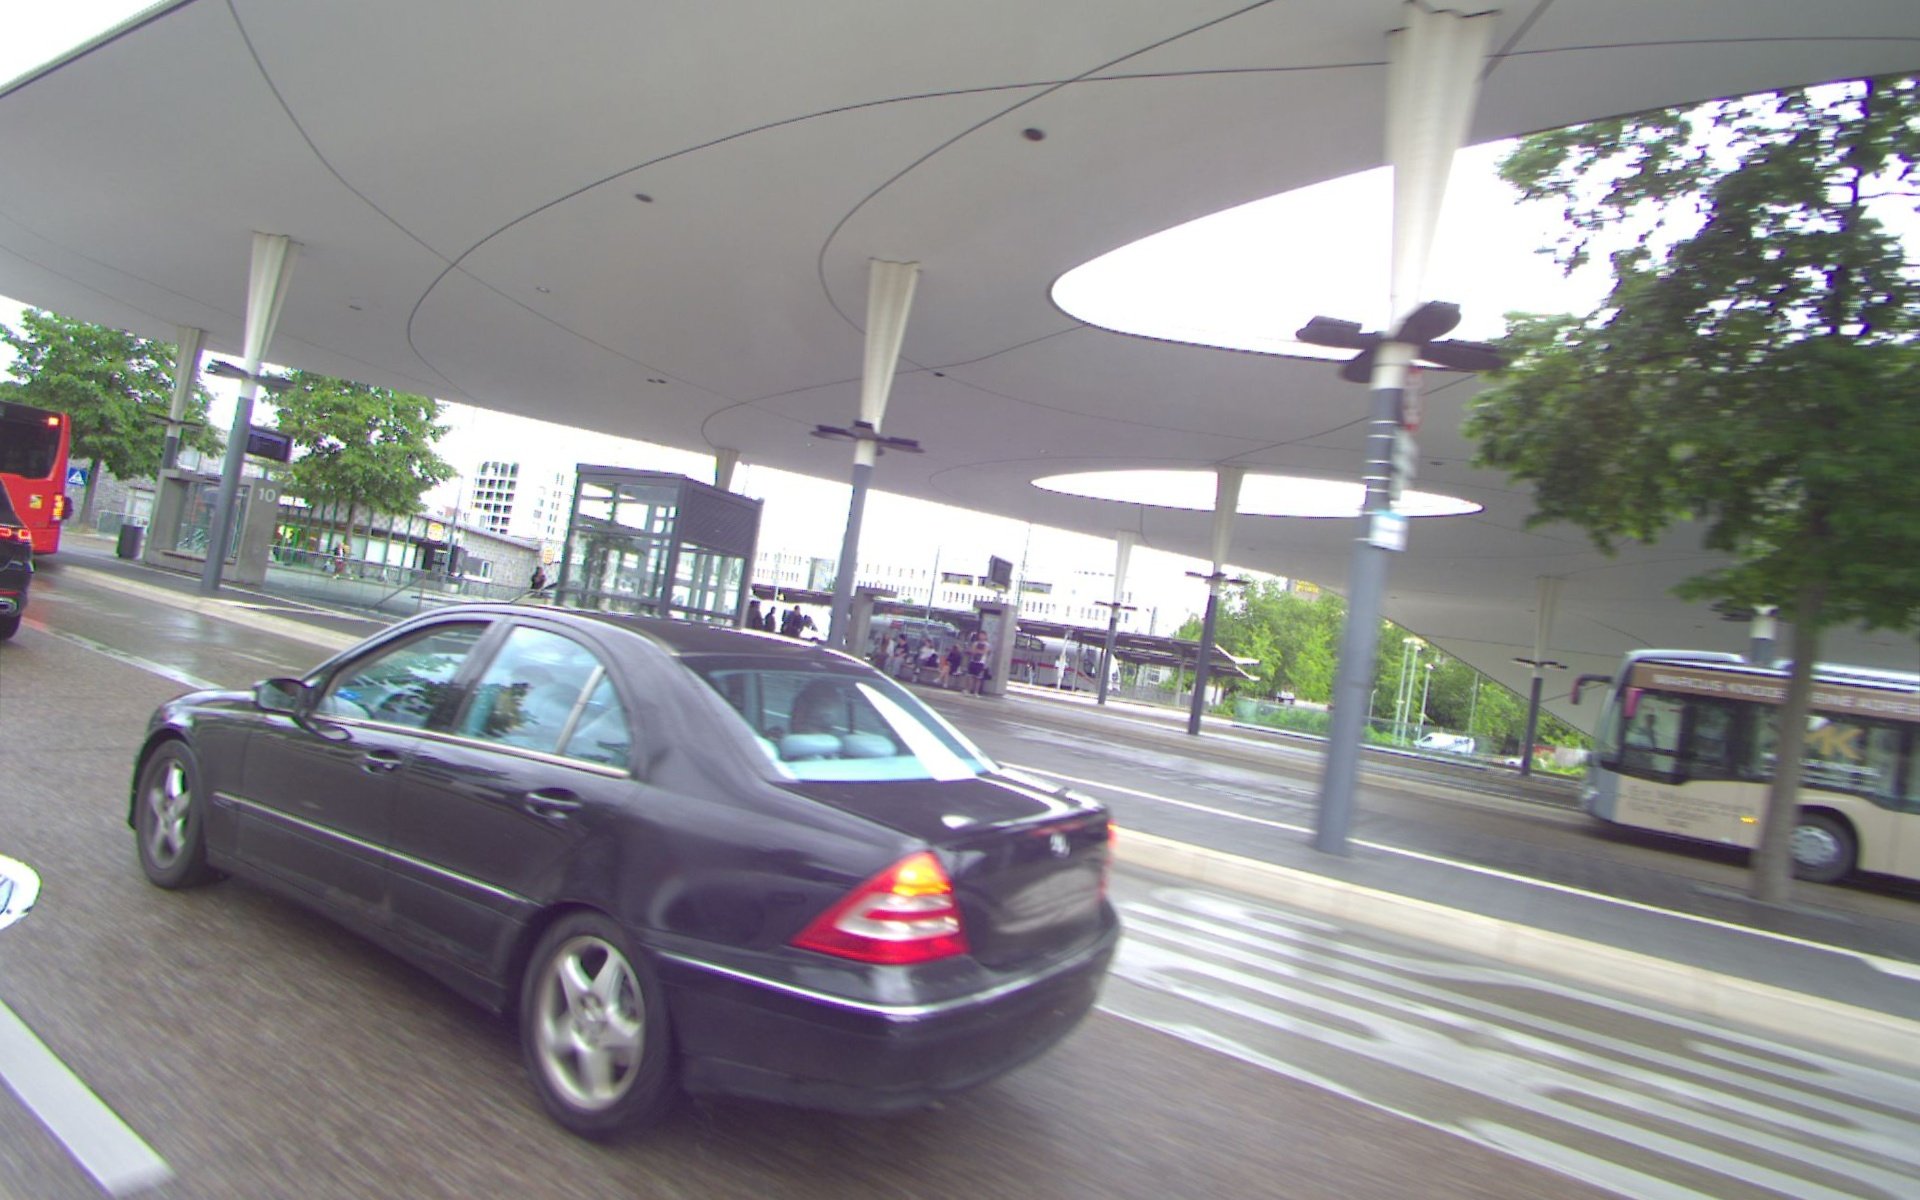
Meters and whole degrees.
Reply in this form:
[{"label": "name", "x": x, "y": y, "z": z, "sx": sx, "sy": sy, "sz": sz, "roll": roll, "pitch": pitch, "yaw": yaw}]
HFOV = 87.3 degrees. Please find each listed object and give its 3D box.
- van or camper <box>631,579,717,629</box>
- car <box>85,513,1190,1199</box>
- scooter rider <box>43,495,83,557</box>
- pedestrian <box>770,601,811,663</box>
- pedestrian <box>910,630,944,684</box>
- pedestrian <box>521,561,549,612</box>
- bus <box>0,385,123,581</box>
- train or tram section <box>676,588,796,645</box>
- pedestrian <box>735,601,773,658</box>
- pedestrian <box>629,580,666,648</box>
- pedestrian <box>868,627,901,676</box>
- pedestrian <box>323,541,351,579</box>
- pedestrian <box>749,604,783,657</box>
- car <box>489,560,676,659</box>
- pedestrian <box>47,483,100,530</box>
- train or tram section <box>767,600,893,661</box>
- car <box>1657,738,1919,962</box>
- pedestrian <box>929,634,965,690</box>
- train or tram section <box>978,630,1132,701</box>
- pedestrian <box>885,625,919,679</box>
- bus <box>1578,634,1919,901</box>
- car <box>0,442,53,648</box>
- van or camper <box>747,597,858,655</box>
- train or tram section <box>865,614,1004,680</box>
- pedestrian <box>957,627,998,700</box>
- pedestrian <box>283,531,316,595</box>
[{"label": "van or camper", "x": -17.105, "y": 0.273, "z": 60.439, "sx": 2.074, "sy": 2.294, "sz": 4.701, "roll": 7, "pitch": -3, "yaw": 28}, {"label": "car", "x": -1.493, "y": 0.718, "z": 4.016, "sx": 4.231, "sy": 1.479, "sz": 1.701, "roll": 9, "pitch": 0, "yaw": 31}, {"label": "scooter rider", "x": -23.395, "y": -1.931, "z": 26.245, "sx": 0.590, "sy": 1.506, "sz": 0.755, "roll": 10, "pitch": -3, "yaw": -44}, {"label": "pedestrian", "x": -5.085, "y": 0.971, "z": 30.107, "sx": 0.707, "sy": 1.730, "sz": 0.757, "roll": 4, "pitch": 5, "yaw": -45}, {"label": "pedestrian", "x": -0.959, "y": 1.657, "z": 29.080, "sx": 0.603, "sy": 1.460, "sz": 0.561, "roll": 7, "pitch": -2, "yaw": 29}, {"label": "pedestrian", "x": -14.578, "y": -0.463, "z": 34.506, "sx": 0.573, "sy": 1.592, "sz": 0.772, "roll": 9, "pitch": -7, "yaw": -17}, {"label": "bus", "x": -21.887, "y": -2.752, "z": 21.184, "sx": 10.701, "sy": 3.329, "sz": 3.292, "roll": 7, "pitch": -2, "yaw": 33}, {"label": "train or tram section", "x": -21.805, "y": 1.515, "z": 97.486, "sx": 12.119, "sy": 3.693, "sz": 3.145, "roll": 7, "pitch": -6, "yaw": 32}, {"label": "pedestrian", "x": -6.185, "y": 0.888, "z": 30.250, "sx": 0.699, "sy": 1.598, "sz": 0.601, "roll": 7, "pitch": -3, "yaw": 23}, {"label": "pedestrian", "x": -9.947, "y": 0.469, "z": 32.018, "sx": 0.719, "sy": 2.032, "sz": 0.665, "roll": 11, "pitch": -7, "yaw": -31}, {"label": "pedestrian", "x": -2.243, "y": 1.529, "z": 29.834, "sx": 0.603, "sy": 1.376, "sz": 0.561, "roll": 7, "pitch": -2, "yaw": 29}, {"label": "pedestrian", "x": -27.939, "y": -1.768, "z": 45.110, "sx": 0.663, "sy": 1.592, "sz": 0.606, "roll": 2, "pitch": -8, "yaw": 38}, {"label": "pedestrian", "x": -6.312, "y": 0.994, "z": 32.761, "sx": 0.759, "sy": 1.592, "sz": 0.583, "roll": 7, "pitch": -6, "yaw": 0}, {"label": "car", "x": -8.865, "y": 0.206, "z": 23.549, "sx": 4.169, "sy": 1.680, "sz": 1.717, "roll": 7, "pitch": -3, "yaw": 32}, {"label": "pedestrian", "x": -23.245, "y": -2.440, "z": 26.384, "sx": 0.912, "sy": 0.994, "sz": 0.626, "roll": 11, "pitch": -8, "yaw": -44}, {"label": "train or tram section", "x": -11.889, "y": 2.742, "z": 91.208, "sx": 11.423, "sy": 3.693, "sz": 3.145, "roll": 7, "pitch": -6, "yaw": 32}, {"label": "car", "x": 7.981, "y": 2.182, "z": 8.472, "sx": 3.183, "sy": 1.469, "sz": 1.652, "roll": 7, "pitch": -3, "yaw": 31}, {"label": "pedestrian", "x": -0.370, "y": 1.757, "z": 28.400, "sx": 0.625, "sy": 1.460, "sz": 0.561, "roll": 7, "pitch": -2, "yaw": 29}, {"label": "train or tram section", "x": 7.362, "y": 5.095, "z": 79.130, "sx": 11.423, "sy": 3.712, "sz": 3.145, "roll": 7, "pitch": -6, "yaw": 32}, {"label": "pedestrian", "x": -1.702, "y": 1.527, "z": 29.486, "sx": 0.603, "sy": 1.460, "sz": 0.561, "roll": 7, "pitch": -2, "yaw": 29}, {"label": "bus", "x": 15.303, "y": 2.795, "z": 13.286, "sx": 11.890, "sy": 3.078, "sz": 2.727, "roll": 7, "pitch": -2, "yaw": 32}, {"label": "car", "x": -11.281, "y": -0.820, "z": 10.058, "sx": 4.793, "sy": 1.898, "sz": 1.960, "roll": 7, "pitch": 0, "yaw": 32}, {"label": "van or camper", "x": -9.236, "y": 1.518, "z": 58.728, "sx": 6.110, "sy": 2.536, "sz": 2.099, "roll": 7, "pitch": -3, "yaw": 29}, {"label": "train or tram section", "x": -2.259, "y": 3.934, "z": 85.214, "sx": 11.423, "sy": 3.715, "sz": 3.145, "roll": 7, "pitch": -6, "yaw": 32}, {"label": "pedestrian", "x": 0.449, "y": 1.576, "z": 25.056, "sx": 0.603, "sy": 1.710, "sz": 0.562, "roll": 8, "pitch": -2, "yaw": 26}, {"label": "pedestrian", "x": -18.593, "y": -1.040, "z": 28.338, "sx": 0.570, "sy": 1.697, "sz": 0.578, "roll": 8, "pitch": -2, "yaw": -32}]
